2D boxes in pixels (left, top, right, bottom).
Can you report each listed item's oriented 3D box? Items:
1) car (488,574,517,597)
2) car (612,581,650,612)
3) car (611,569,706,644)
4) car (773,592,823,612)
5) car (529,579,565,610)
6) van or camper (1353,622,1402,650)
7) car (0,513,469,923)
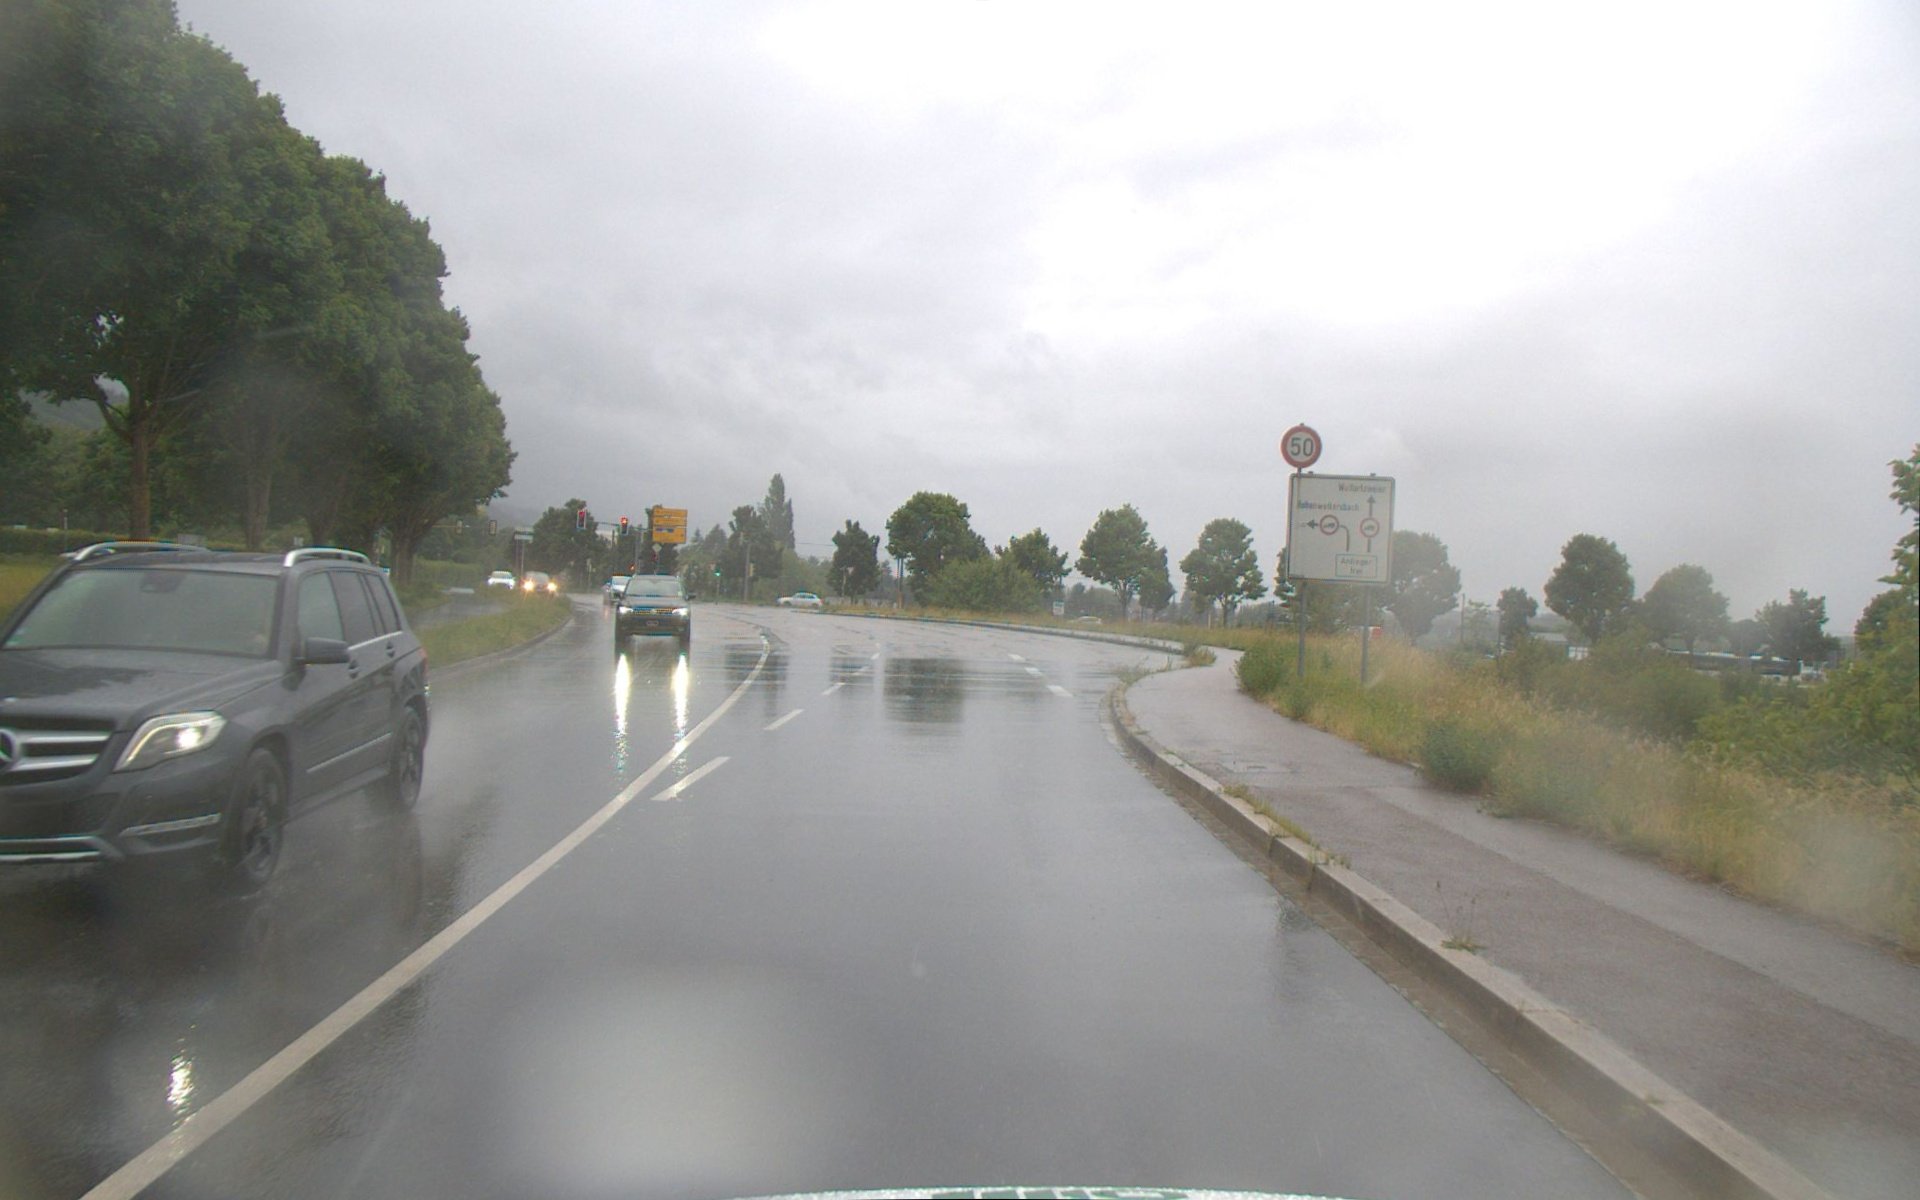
[{"bbox_3d":[-33.196,-1.085,120.028,1.849,1.601,4.622,1,0,-18],"label":"car"},{"bbox_3d":[-16.886,-0.167,84.934,1.707,1.513,4.003,1,0,-9],"label":"car"},{"bbox_3d":[-7.571,0.143,41.874,1.886,1.774,4.285,1,0,-4],"label":"car"},{"bbox_3d":[-14.907,0.170,152.498,4.301,1.607,1.726,4,0,-14],"label":"car"},{"bbox_3d":[-23.839,-0.338,95.610,1.852,1.615,4.104,5,-1,-14],"label":"car"},{"bbox_3d":[42.466,3.658,168.384,4.582,2.395,2.018,5,0,12],"label":"van or camper"},{"bbox_3d":[-4.102,0.490,9.155,1.707,1.733,4.219,1,0,-4],"label":"car"}]
